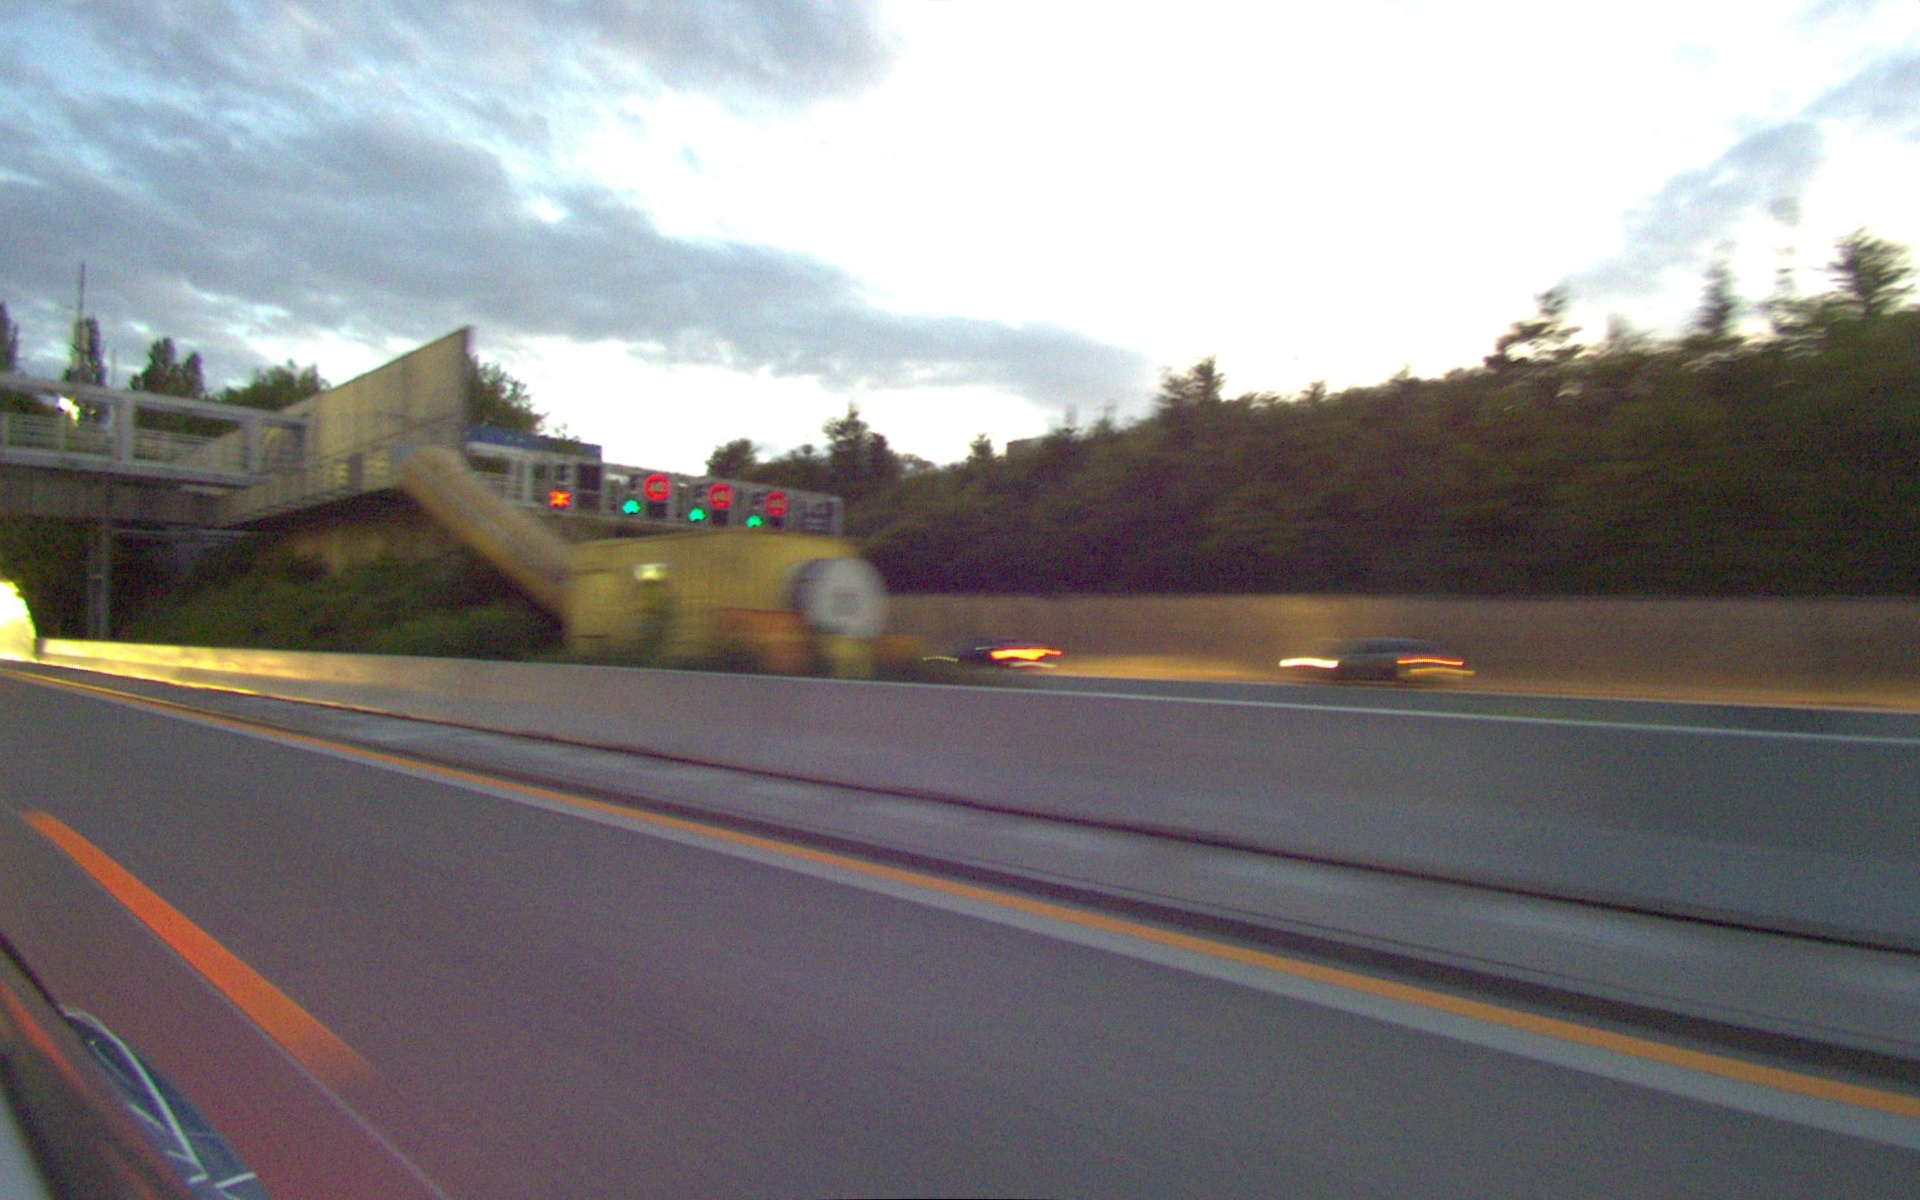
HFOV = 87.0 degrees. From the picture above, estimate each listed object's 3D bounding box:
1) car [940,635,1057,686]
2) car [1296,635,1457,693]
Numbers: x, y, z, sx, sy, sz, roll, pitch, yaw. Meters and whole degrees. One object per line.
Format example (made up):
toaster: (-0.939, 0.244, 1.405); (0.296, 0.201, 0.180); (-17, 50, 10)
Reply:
car: (1.319, 2.056, 35.226); (3.789, 1.582, 1.779); (-1, 0, 41)
car: (12.204, 1.827, 29.788); (4.096, 1.481, 1.559); (-1, 0, 44)
